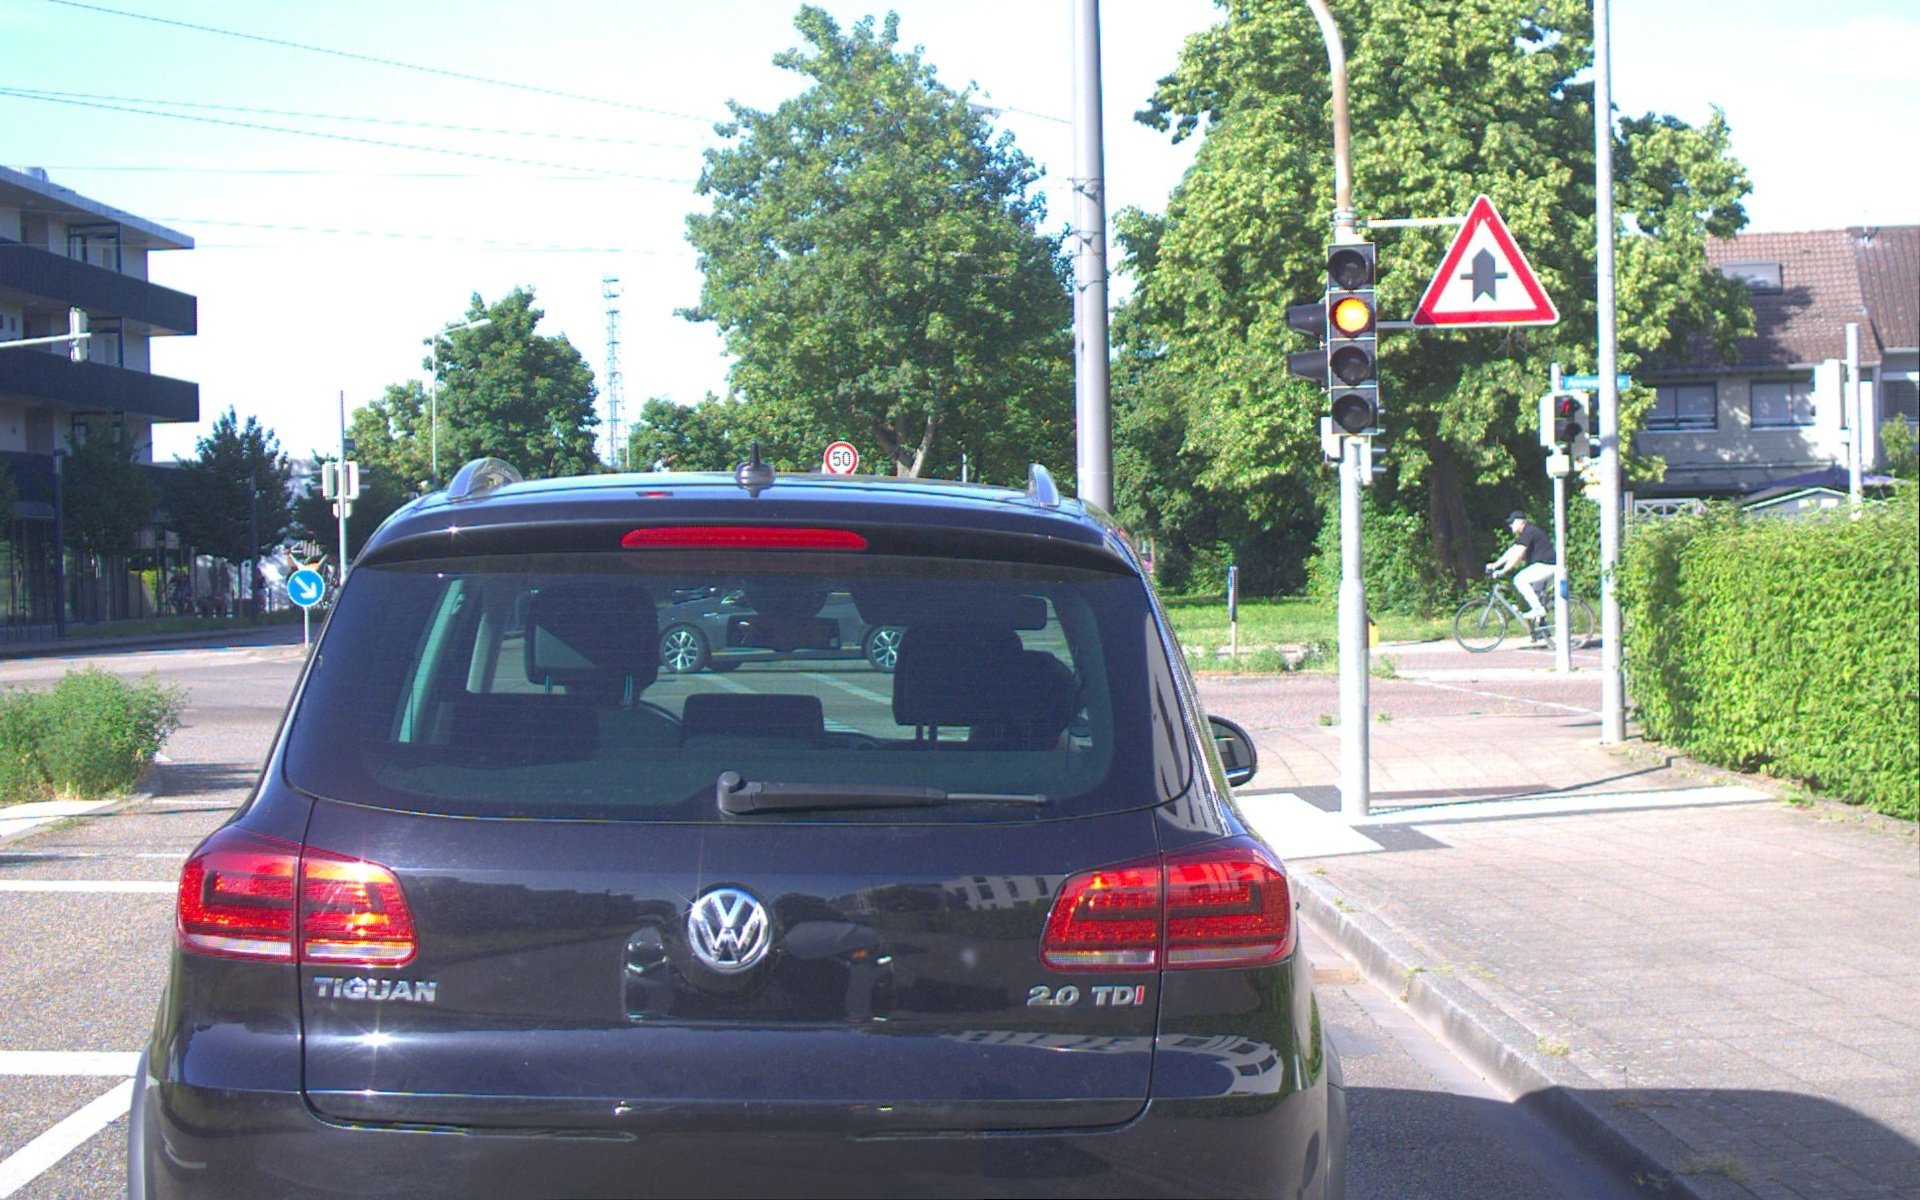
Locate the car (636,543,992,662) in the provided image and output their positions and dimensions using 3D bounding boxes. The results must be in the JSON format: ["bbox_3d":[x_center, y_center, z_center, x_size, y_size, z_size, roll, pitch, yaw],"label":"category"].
[{"bbox_3d":[-1.883,0.016,45.317,4.498,1.499,2.000,0,1,4],"label":"car"}]

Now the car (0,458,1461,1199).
[{"bbox_3d":[-0.368,0.604,6.472,1.905,1.637,4.000,0,1,-2],"label":"car"}]

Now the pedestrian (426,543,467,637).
[{"bbox_3d":[-8.978,-0.180,60.127,0.603,1.634,0.529,0,1,4],"label":"pedestrian"}]

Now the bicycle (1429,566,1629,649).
[{"bbox_3d":[7.444,0.094,45.084,2.504,1.056,0.776,0,1,3],"label":"bicycle"}]

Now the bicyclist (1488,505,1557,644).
[{"bbox_3d":[7.376,-0.339,45.096,0.803,1.800,0.684,0,1,3],"label":"bicyclist"}]

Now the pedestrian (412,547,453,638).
[{"bbox_3d":[-9.107,-0.139,59.352,0.603,1.559,0.529,0,1,4],"label":"pedestrian"}]

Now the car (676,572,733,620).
[{"bbox_3d":[-9.069,-0.153,122.211,1.656,1.634,4.000,0,1,1],"label":"car"}]

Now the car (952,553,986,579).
[{"bbox_3d":[0.499,-1.906,190.031,1.751,1.382,4.000,0,1,-2],"label":"car"}]
